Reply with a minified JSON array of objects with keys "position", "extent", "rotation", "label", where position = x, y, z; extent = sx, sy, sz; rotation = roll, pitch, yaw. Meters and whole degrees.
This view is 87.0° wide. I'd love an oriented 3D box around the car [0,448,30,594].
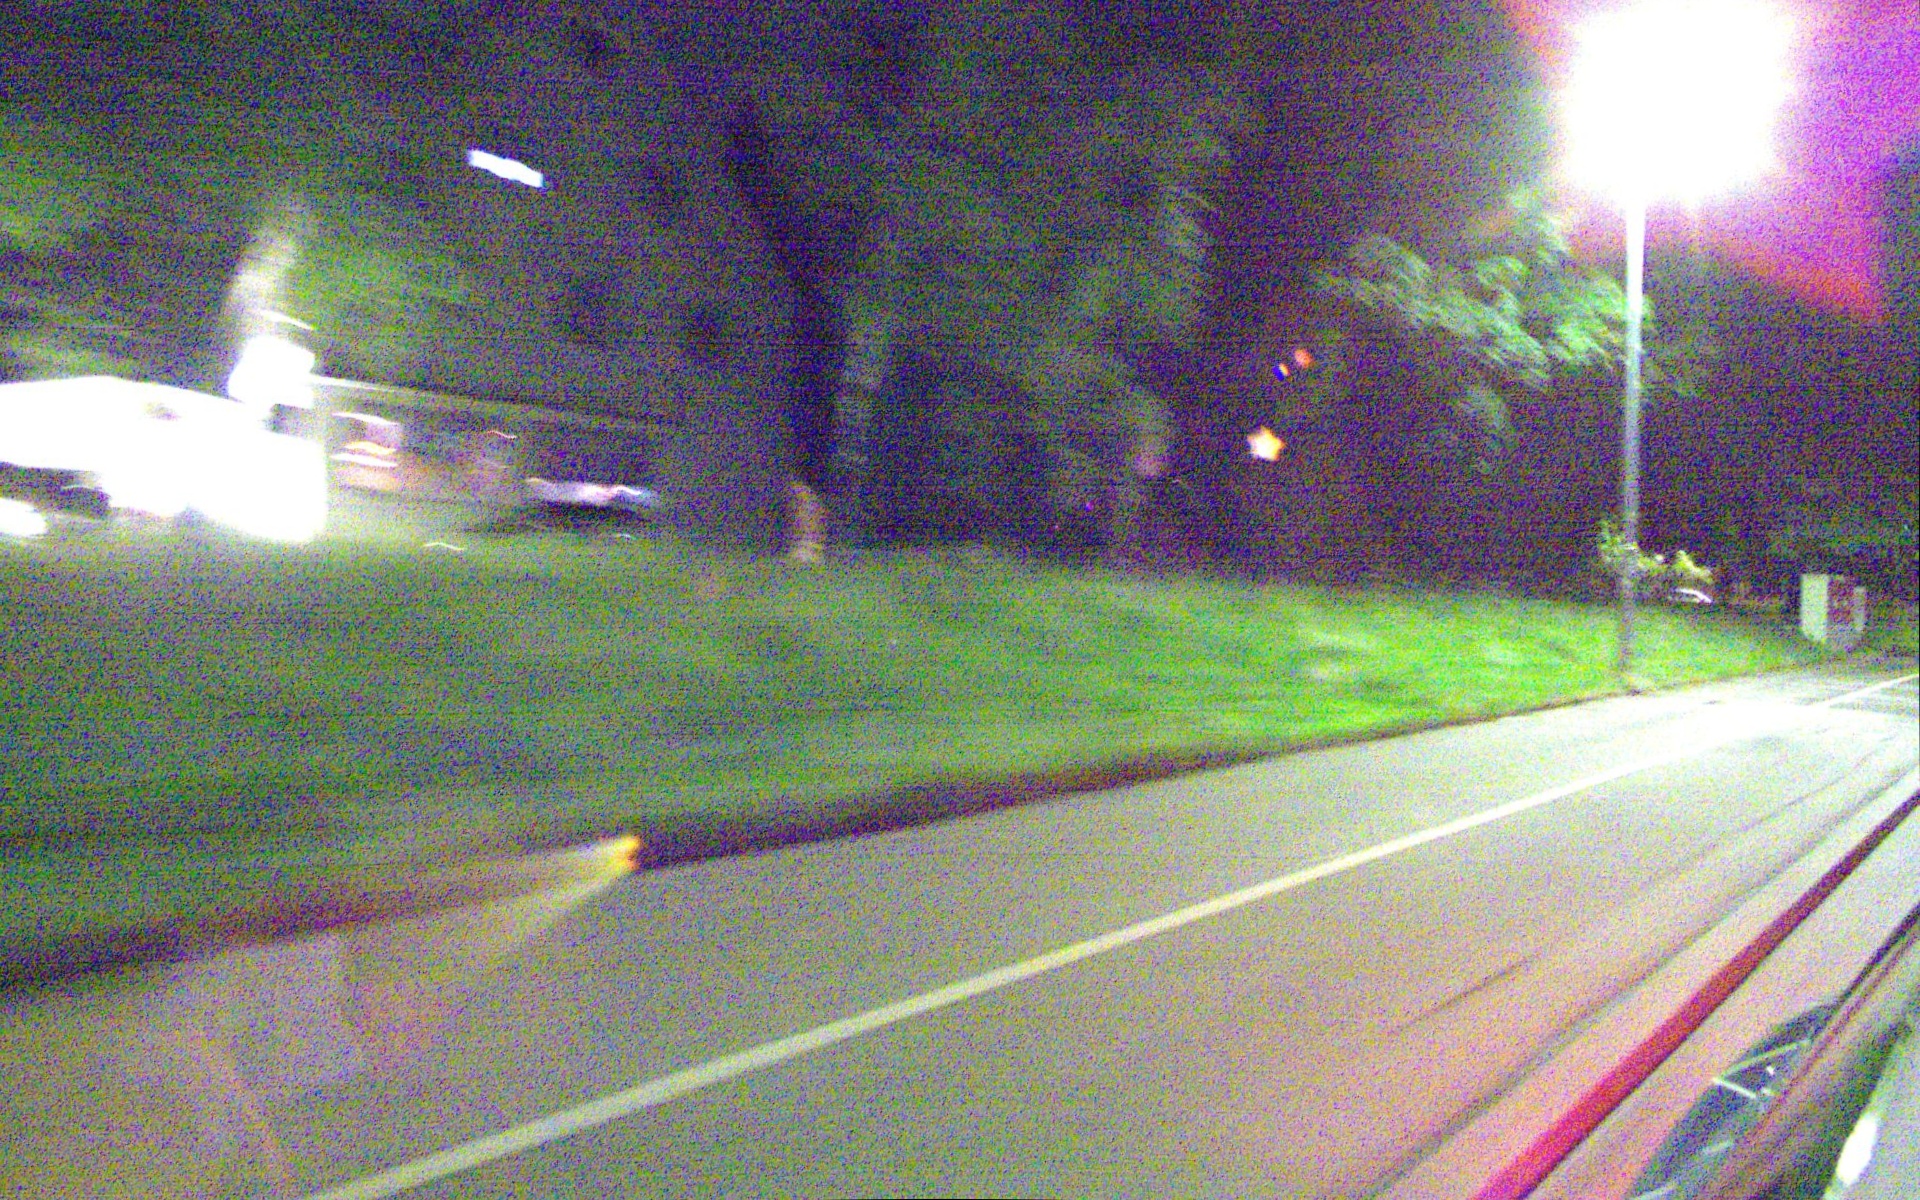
[{"position":[-14.382,-1.067,12.546],"extent":[4.039,1.860,1.957],"rotation":[0,3,-38],"label":"car"}]
